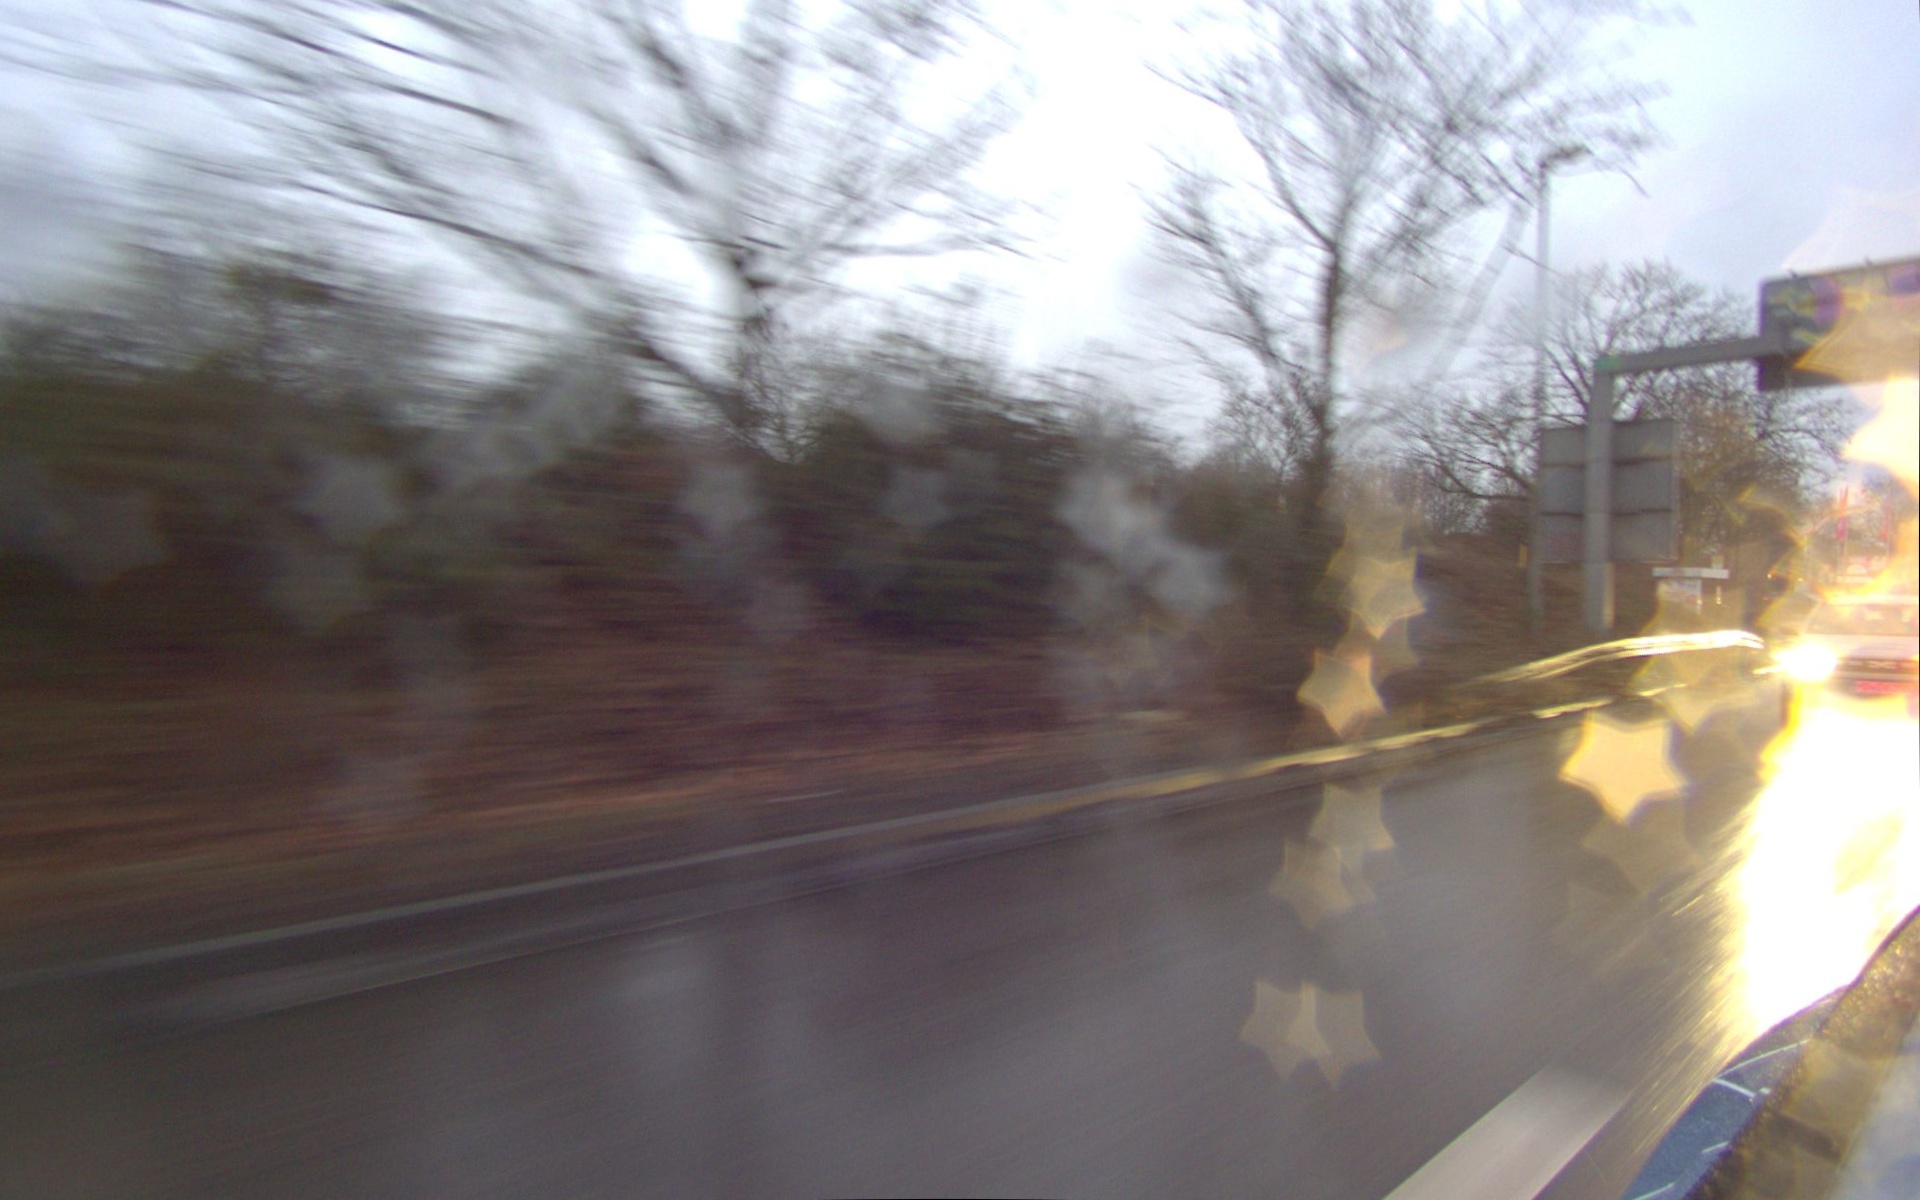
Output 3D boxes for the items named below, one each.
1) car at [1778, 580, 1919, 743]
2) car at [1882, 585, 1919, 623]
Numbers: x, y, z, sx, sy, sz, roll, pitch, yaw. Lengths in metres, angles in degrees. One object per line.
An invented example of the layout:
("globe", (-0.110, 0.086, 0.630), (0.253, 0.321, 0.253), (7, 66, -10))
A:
("car", (11.208, 0.602, 12.006), (4.338, 1.638, 1.817), (-1, 2, -44))
("car", (44.009, 0.180, 46.638), (4.473, 1.639, 1.969), (-1, 3, -44))
